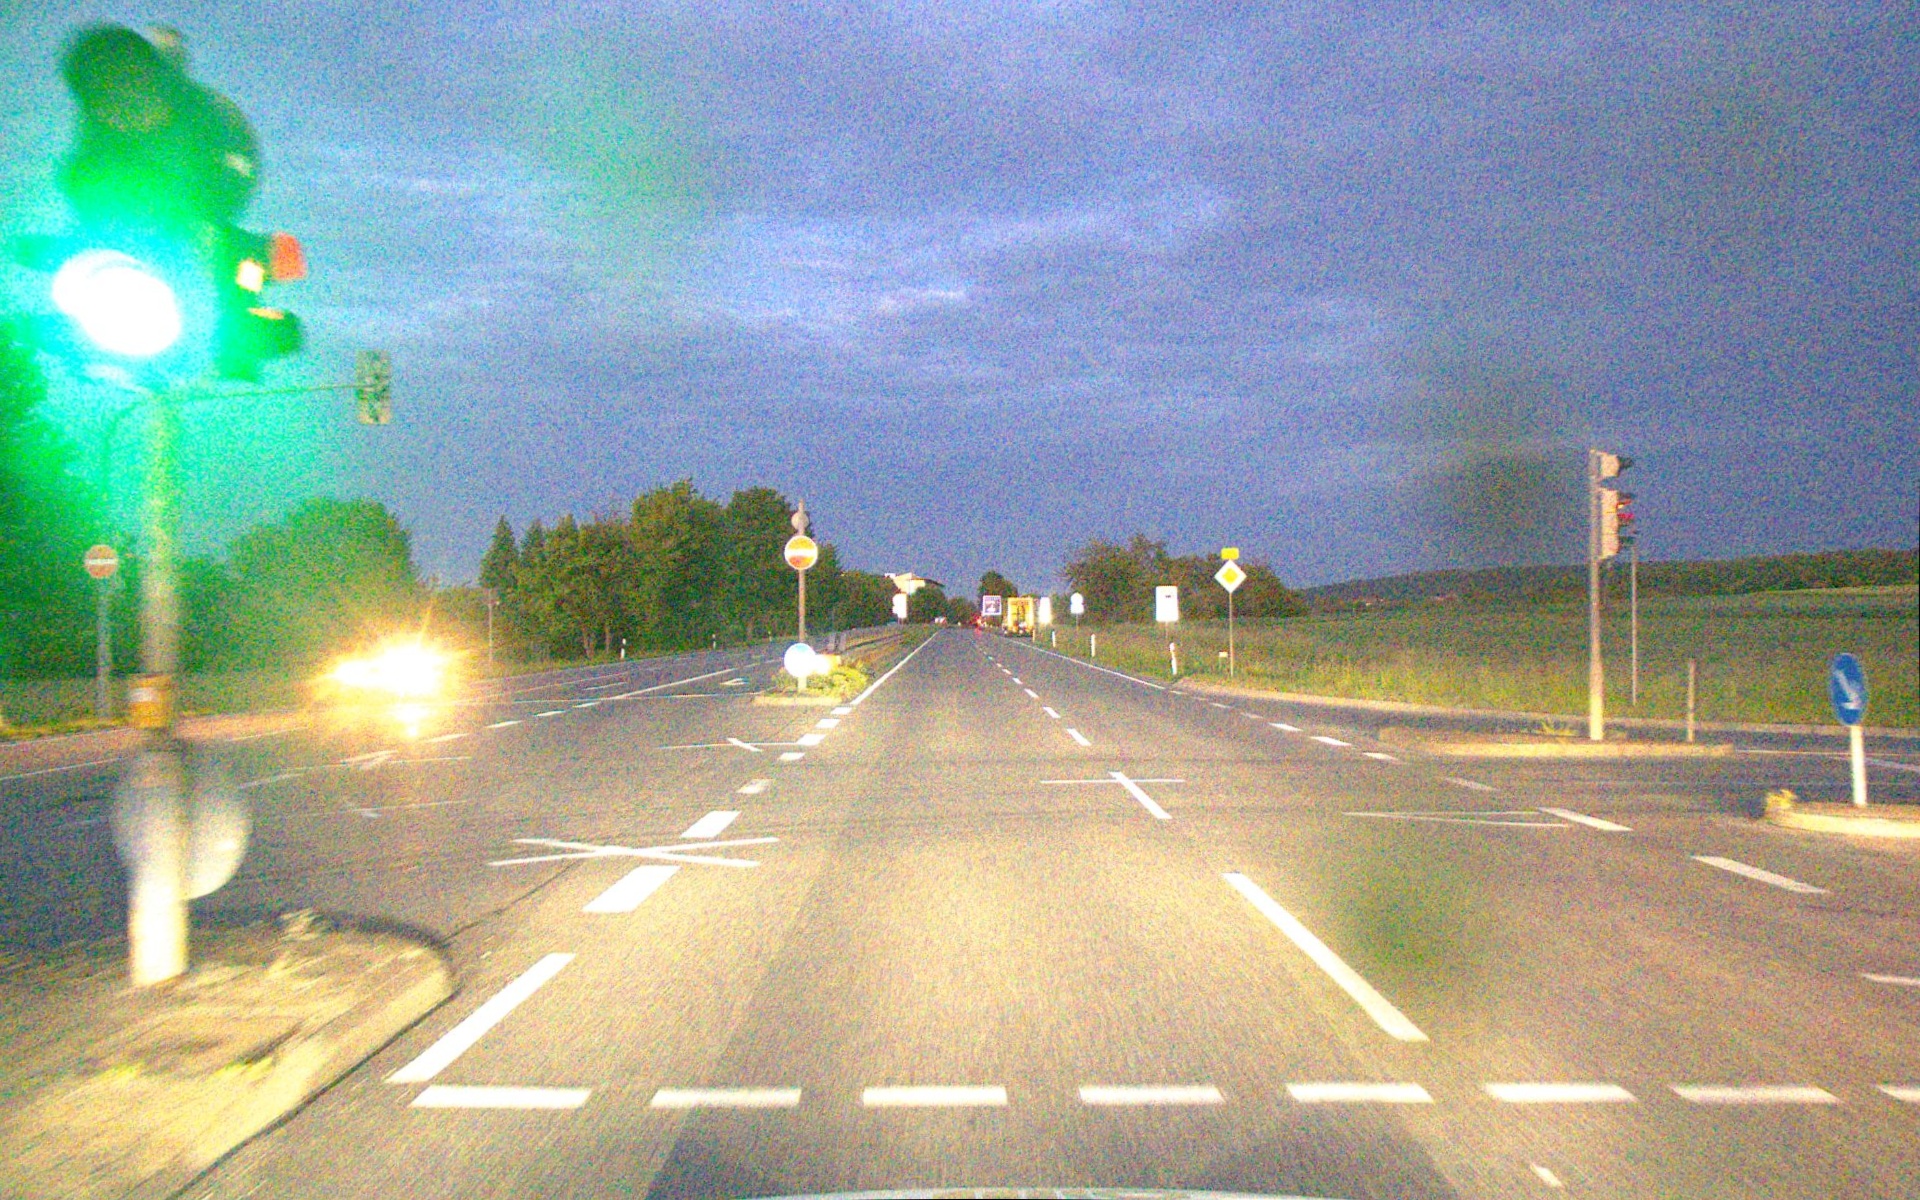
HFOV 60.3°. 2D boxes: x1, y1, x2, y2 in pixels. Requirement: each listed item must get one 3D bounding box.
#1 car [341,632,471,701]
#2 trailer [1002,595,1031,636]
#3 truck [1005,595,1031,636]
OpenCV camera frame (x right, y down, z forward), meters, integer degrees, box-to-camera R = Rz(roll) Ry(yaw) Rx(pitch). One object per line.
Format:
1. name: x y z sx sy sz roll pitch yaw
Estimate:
1. car: -12.377 1.445 37.187 1.618 1.409 4.028 -2 -1 -1
2. trailer: 5.995 1.701 177.064 2.568 4.176 12.935 0 -1 0
3. truck: 5.940 1.586 170.425 2.526 4.143 6.130 1 0 1
